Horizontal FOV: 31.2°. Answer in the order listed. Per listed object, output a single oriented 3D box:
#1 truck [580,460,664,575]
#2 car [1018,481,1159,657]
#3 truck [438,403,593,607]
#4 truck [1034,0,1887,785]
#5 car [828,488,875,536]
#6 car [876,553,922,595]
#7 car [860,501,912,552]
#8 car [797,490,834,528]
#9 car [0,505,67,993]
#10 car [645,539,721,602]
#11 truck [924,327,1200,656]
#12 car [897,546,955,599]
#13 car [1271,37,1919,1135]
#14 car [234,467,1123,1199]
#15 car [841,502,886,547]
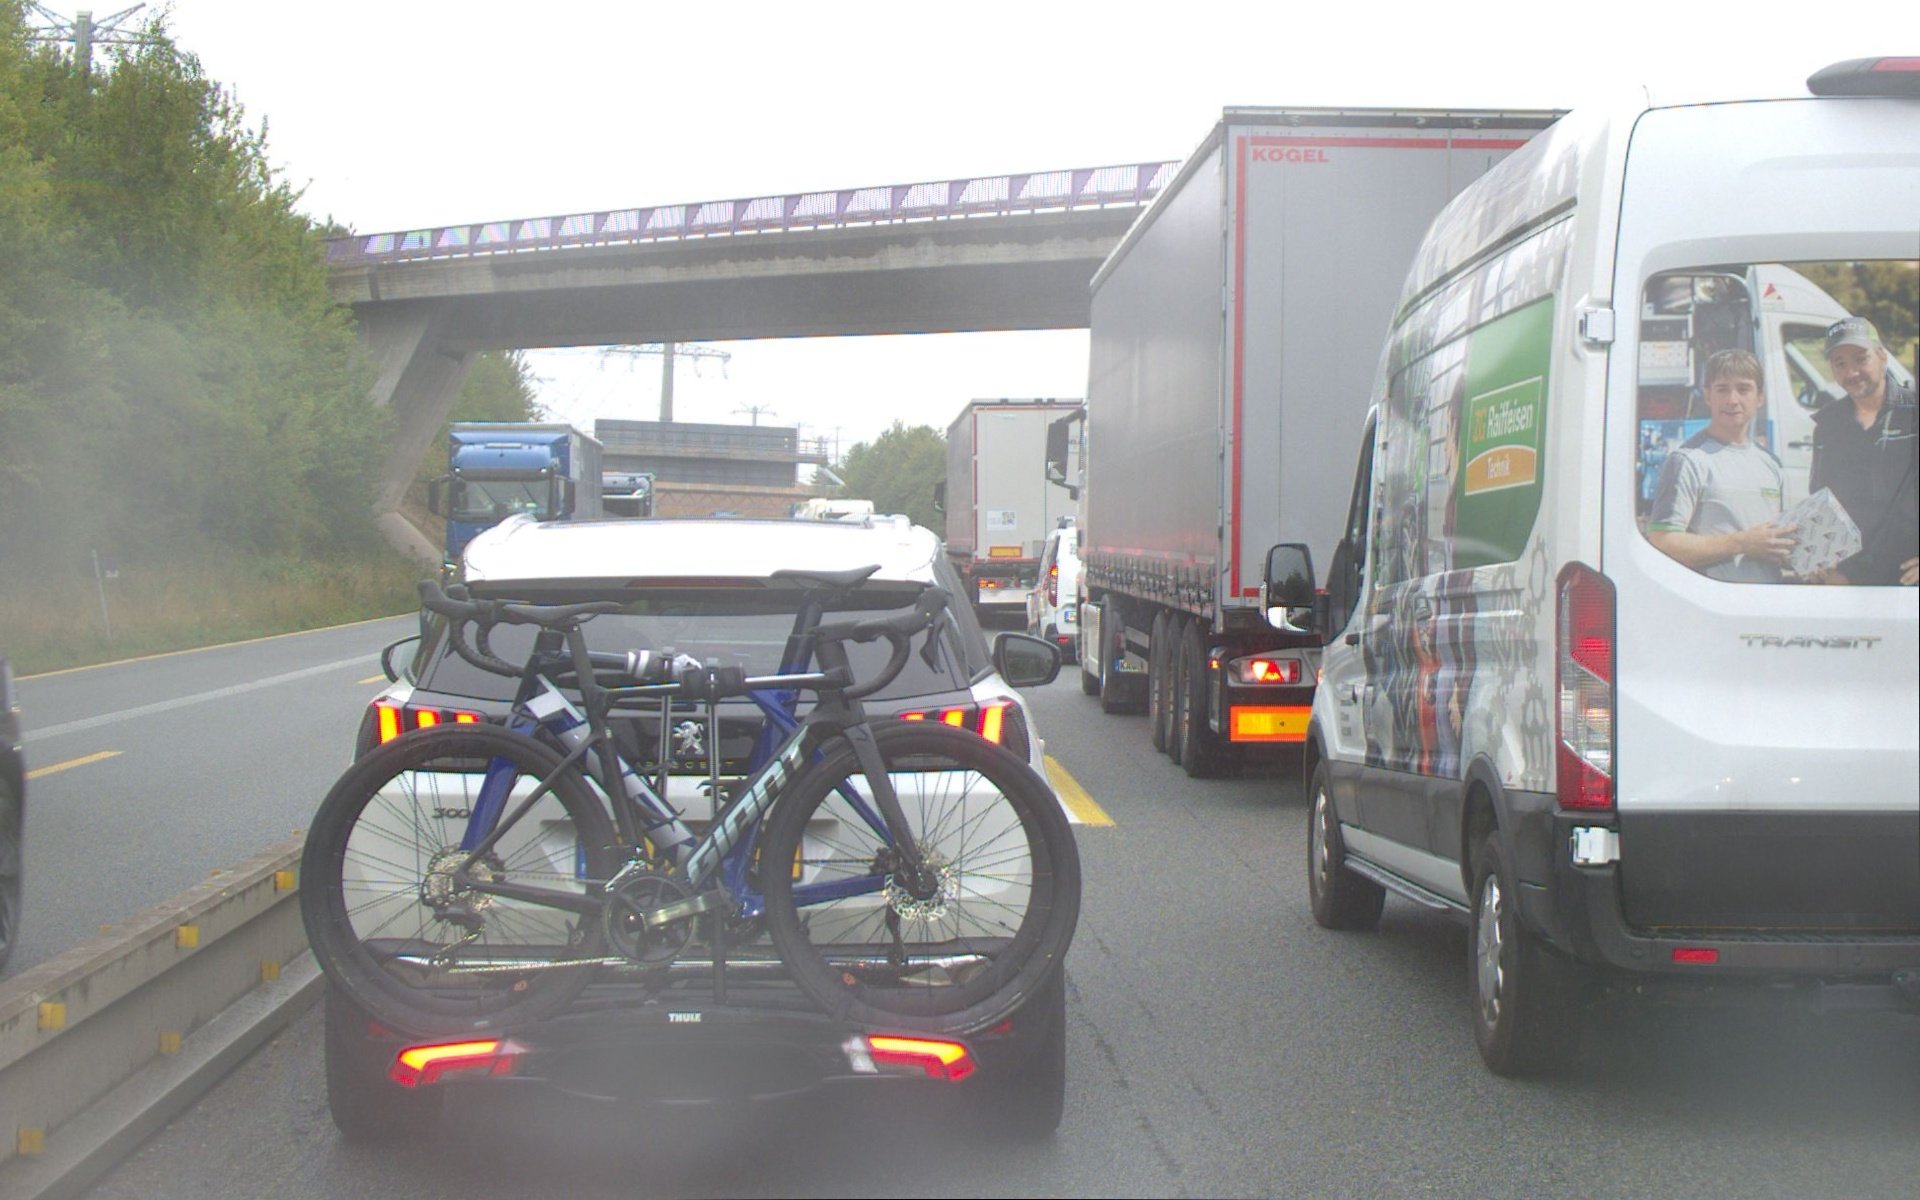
[{"bbox_3d":[-12.530,-3.007,128.059,2.464,4.109,10.089,1,1,-2],"label":"truck"},{"bbox_3d":[1.634,-0.408,44.981,1.670,2.173,4.535,1,1,0],"label":"car"},{"bbox_3d":[-9.916,-2.023,78.181,2.765,4.109,16.930,1,1,-5],"label":"truck"},{"bbox_3d":[2.973,-1.941,29.051,3.979,5.654,20.377,1,1,-1],"label":"truck"},{"bbox_3d":[-5.389,-4.377,171.602,2.239,2.299,4.572,1,1,-1],"label":"car"},{"bbox_3d":[-2.231,-0.951,125.547,1.638,1.492,3.666,1,1,-1],"label":"car"},{"bbox_3d":[-3.049,-2.996,140.855,1.993,2.007,4.000,1,1,-3],"label":"car"},{"bbox_3d":[-8.421,-5.274,200.414,1.993,2.119,4.527,1,1,-1],"label":"car"},{"bbox_3d":[-4.081,0.492,10.109,1.935,1.602,4.120,1,1,-2],"label":"car"},{"bbox_3d":[-7.247,-0.781,90.348,1.783,1.604,4.104,1,1,-2],"label":"car"},{"bbox_3d":[1.839,-1.988,69.913,4.743,5.654,20.376,1,1,0],"label":"truck"},{"bbox_3d":[-0.992,-0.805,100.099,1.638,1.492,3.666,1,1,-1],"label":"car"},{"bbox_3d":[2.422,-0.058,11.444,2.144,2.667,6.117,1,1,0],"label":"car"},{"bbox_3d":[-0.565,0.530,9.370,1.810,1.632,4.635,1,1,0],"label":"car"},{"bbox_3d":[-4.439,-3.494,159.041,1.993,2.007,4.000,1,1,-1],"label":"car"}]
